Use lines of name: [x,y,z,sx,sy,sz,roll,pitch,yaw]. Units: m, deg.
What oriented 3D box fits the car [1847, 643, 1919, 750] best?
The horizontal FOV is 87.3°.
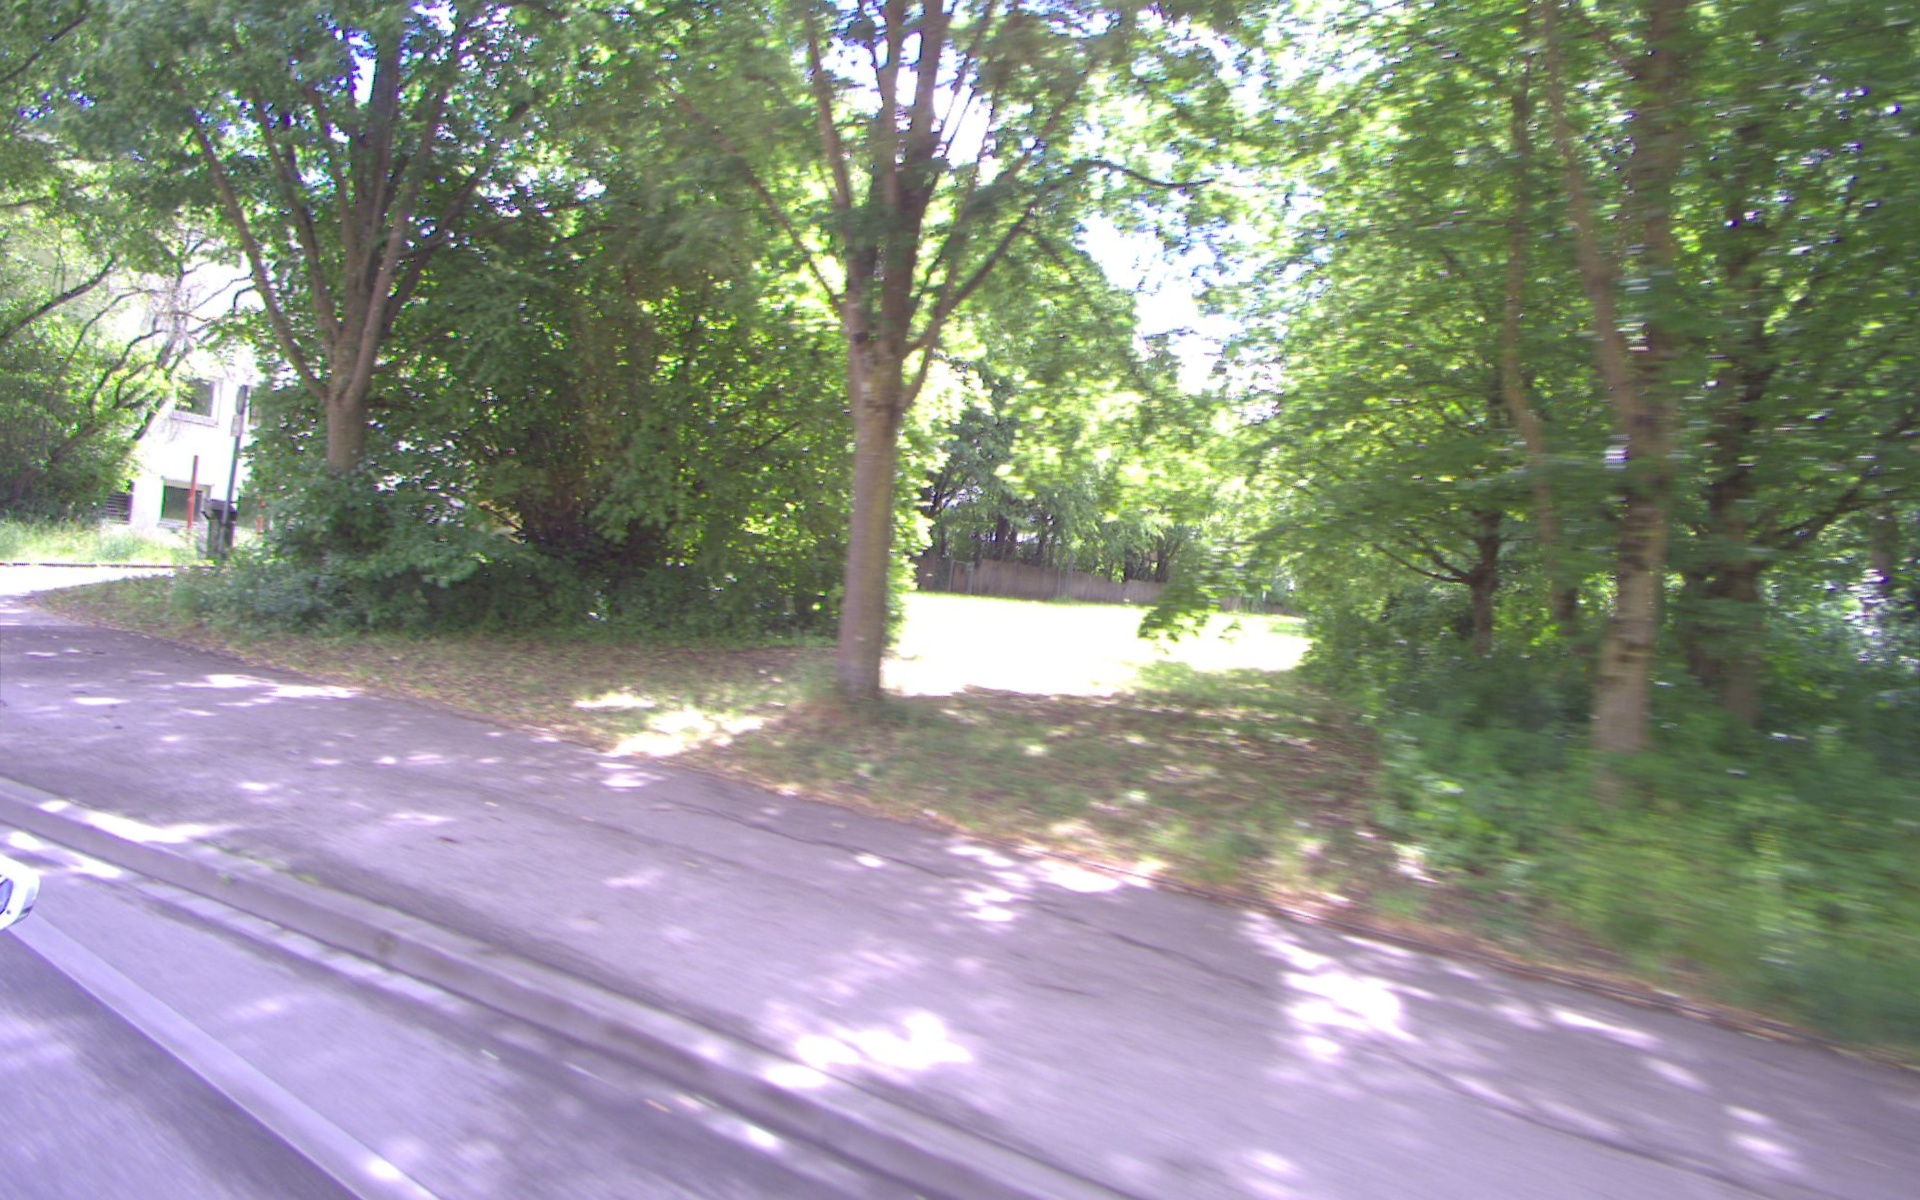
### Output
car: [15.992,1.639,14.951,3.830,1.528,1.650,7,3,31]
